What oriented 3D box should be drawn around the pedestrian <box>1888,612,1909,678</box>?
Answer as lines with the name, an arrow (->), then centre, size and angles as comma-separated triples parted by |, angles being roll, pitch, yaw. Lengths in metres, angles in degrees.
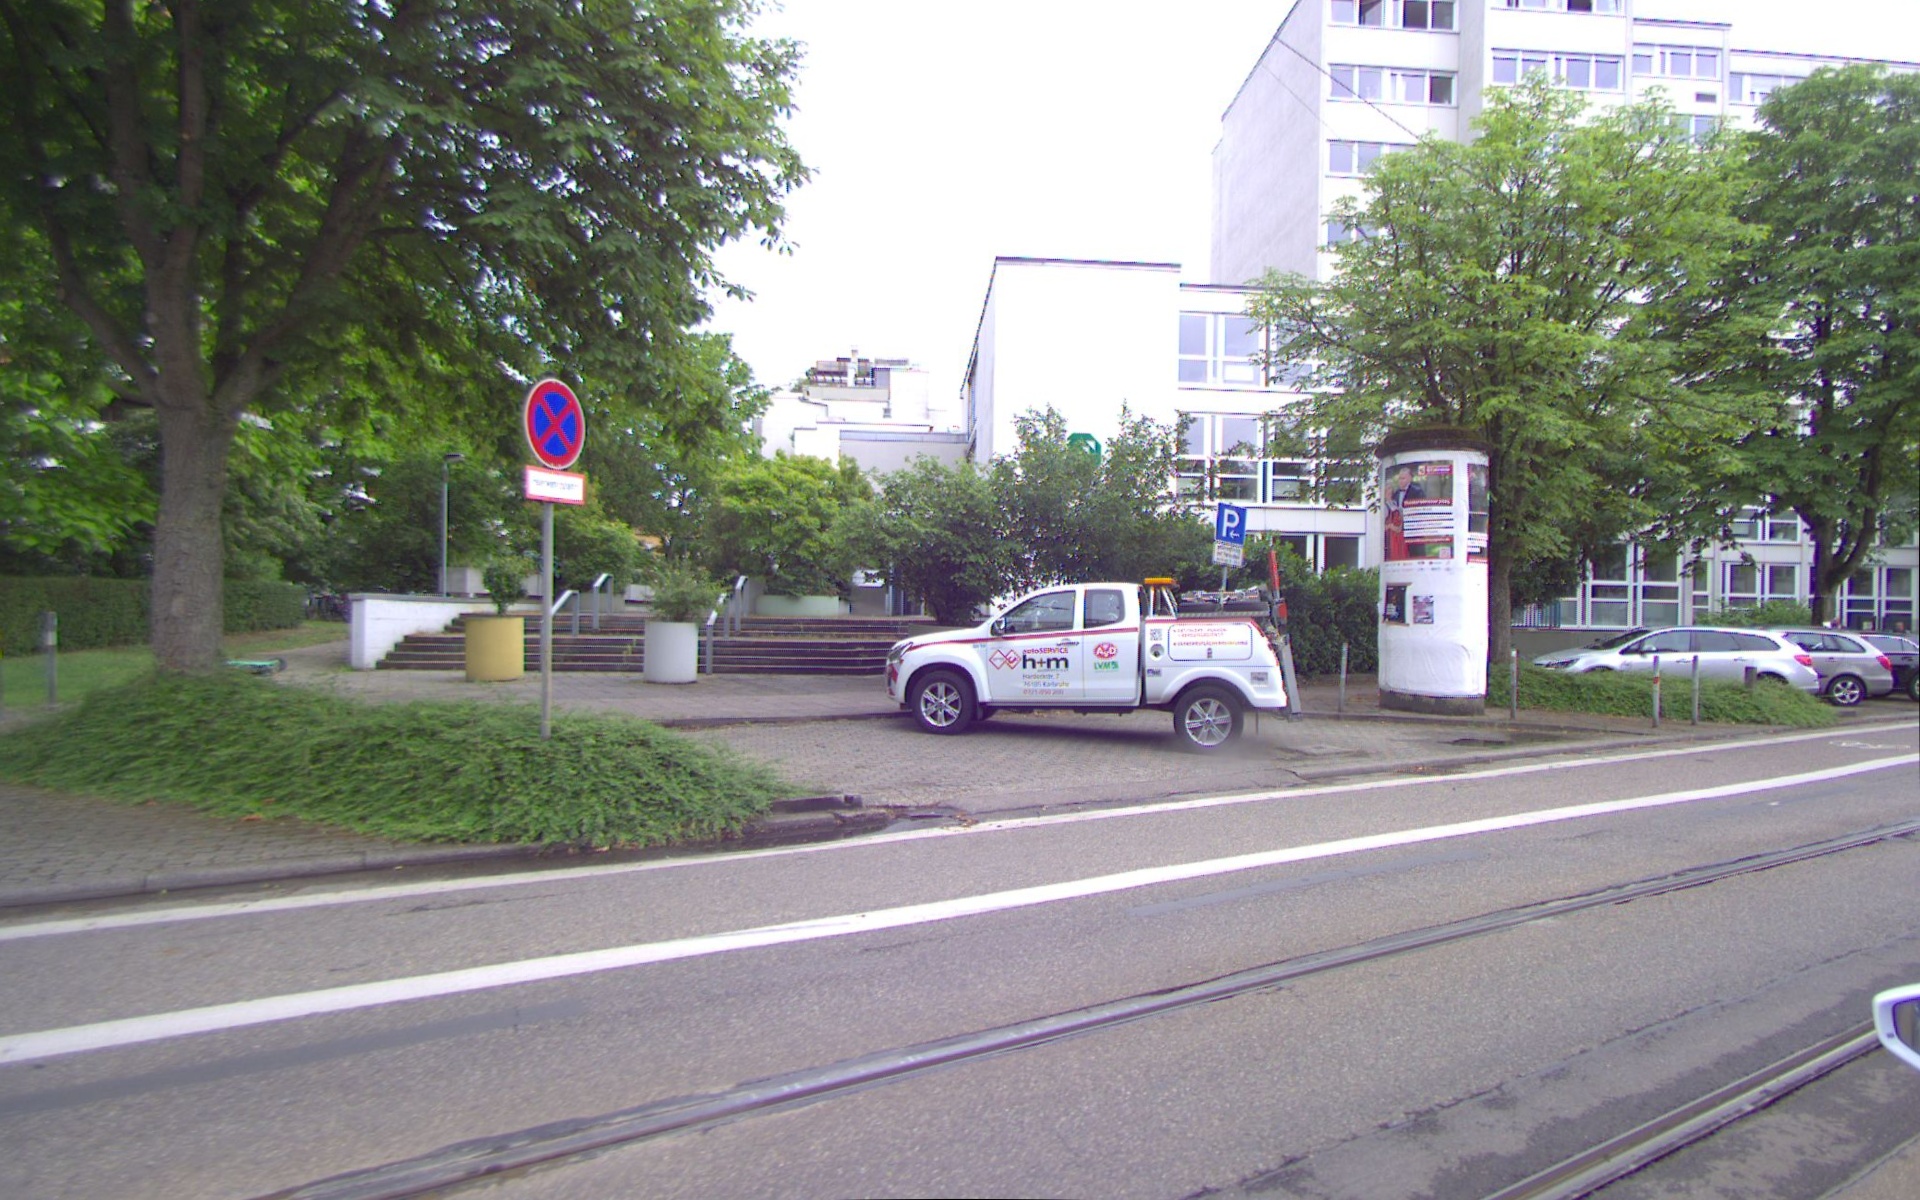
pedestrian -> 29.449, 1.392, 31.508 | 0.852, 2.040, 0.458 | 2, -1, -45

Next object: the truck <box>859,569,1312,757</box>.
truck -> 1.491, 0.638, 12.018 | 4.962, 1.873, 2.001 | 1, 0, 16

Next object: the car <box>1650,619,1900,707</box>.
car -> 16.480, 1.233, 20.504 | 3.578, 1.544, 1.573 | 2, 0, 16

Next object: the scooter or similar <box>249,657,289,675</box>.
scooter or similar -> -11.315, 1.076, 16.473 | 0.292, 0.174, 1.214 | 3, 1, -23

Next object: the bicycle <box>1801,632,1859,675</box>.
bicycle -> 28.059, 1.731, 32.400 | 1.566, 1.285, 0.405 | 3, 0, -7

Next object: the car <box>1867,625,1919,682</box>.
car -> 27.553, 1.512, 27.270 | 3.951, 1.504, 1.699 | 2, 0, 23

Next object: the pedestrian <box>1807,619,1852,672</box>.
pedestrian -> 27.995, 1.463, 32.347 | 0.720, 1.633, 0.754 | 3, 1, -6

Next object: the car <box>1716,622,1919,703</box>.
car -> 19.018, 1.323, 21.896 | 3.631, 1.544, 1.700 | 2, 0, 16

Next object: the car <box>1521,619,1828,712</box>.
car -> 13.342, 1.190, 19.023 | 4.342, 1.484, 1.805 | 2, 0, 10

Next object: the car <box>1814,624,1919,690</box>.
car -> 24.532, 1.476, 25.725 | 3.631, 1.544, 1.700 | 2, 0, 16

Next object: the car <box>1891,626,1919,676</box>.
car -> 29.763, 1.550, 28.910 | 3.951, 1.424, 1.699 | 2, 0, 23
